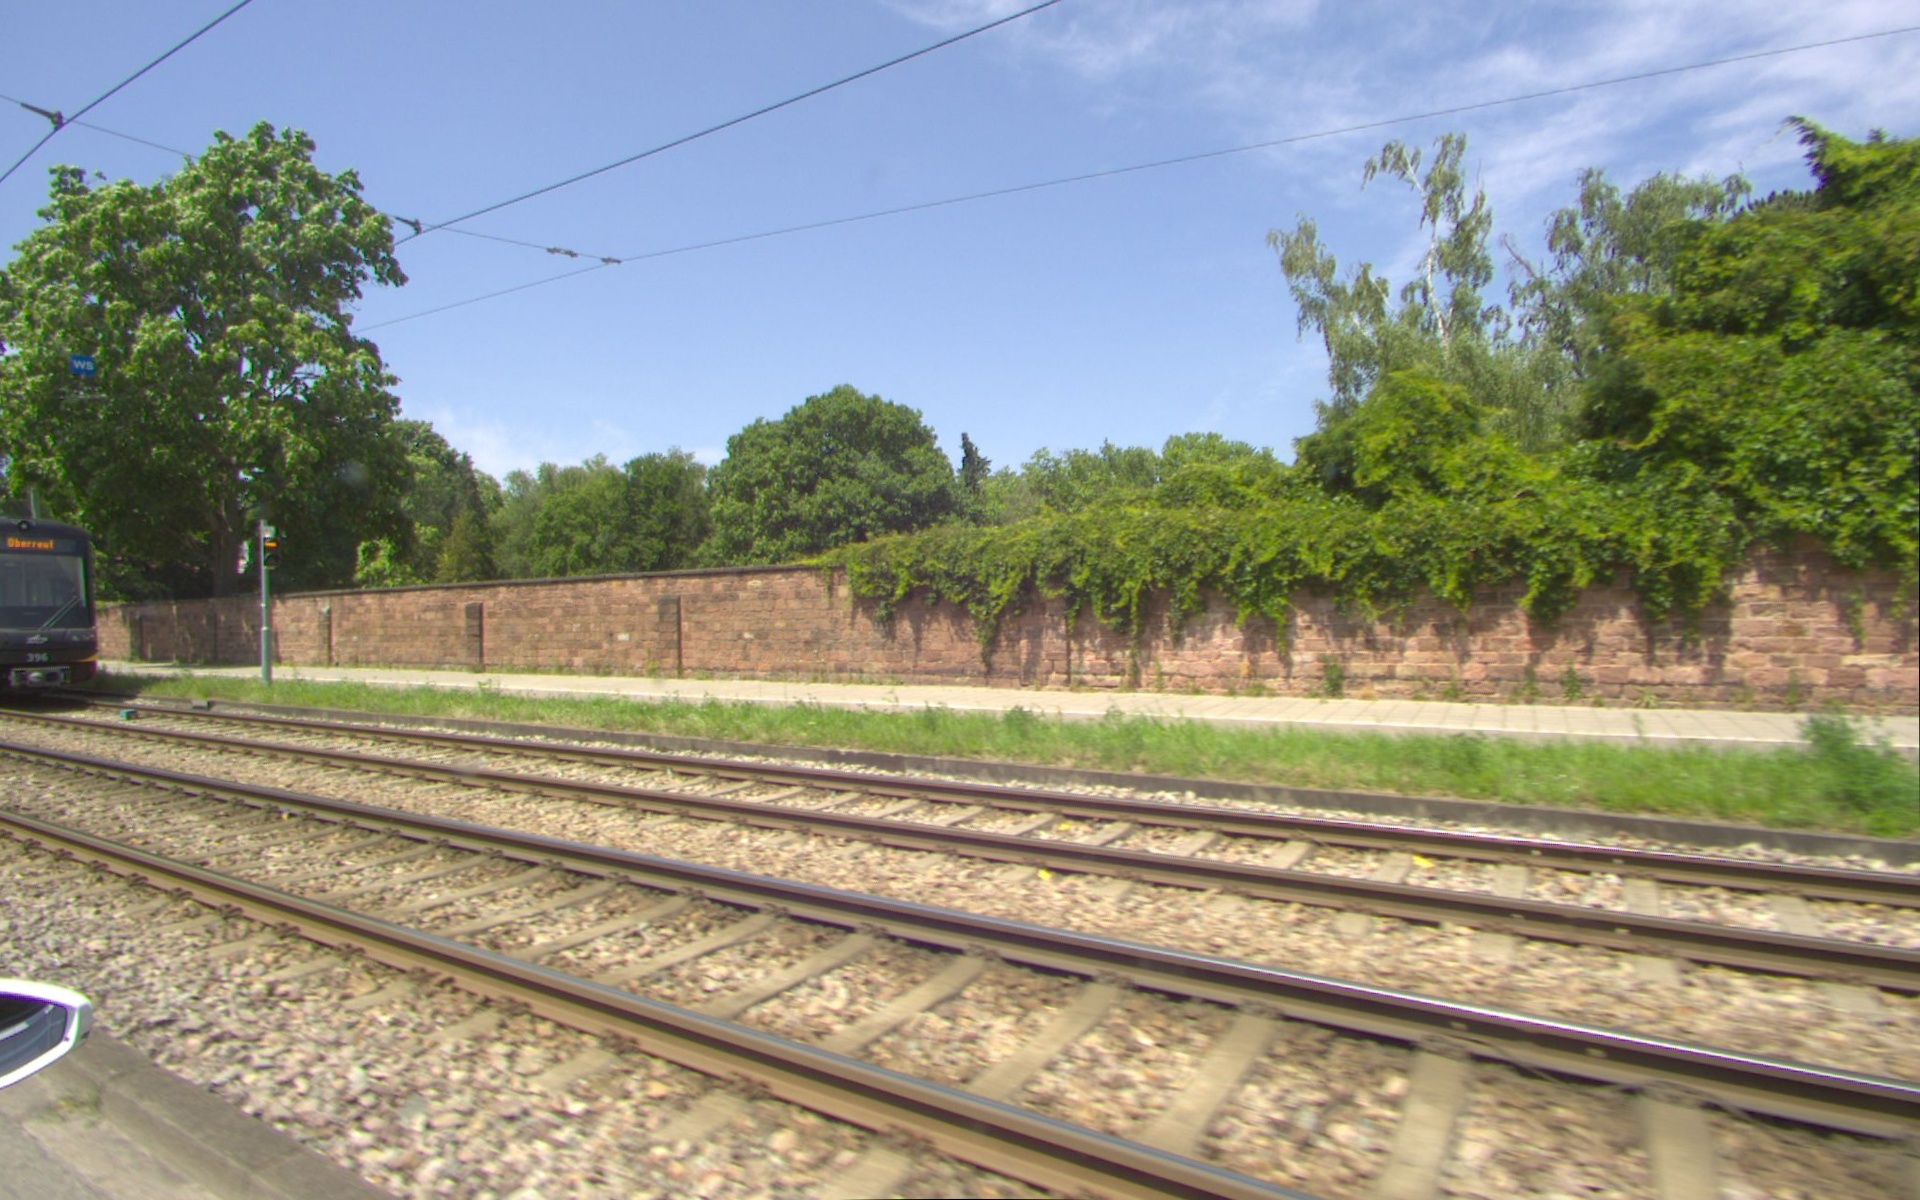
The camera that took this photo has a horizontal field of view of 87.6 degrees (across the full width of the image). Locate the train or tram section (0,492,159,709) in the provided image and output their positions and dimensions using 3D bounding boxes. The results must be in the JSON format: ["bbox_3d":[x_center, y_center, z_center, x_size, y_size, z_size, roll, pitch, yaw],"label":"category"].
[{"bbox_3d":[-21.979,0.118,21.931,12.905,3.848,3.021,-1,0,33],"label":"train or tram section"}]
